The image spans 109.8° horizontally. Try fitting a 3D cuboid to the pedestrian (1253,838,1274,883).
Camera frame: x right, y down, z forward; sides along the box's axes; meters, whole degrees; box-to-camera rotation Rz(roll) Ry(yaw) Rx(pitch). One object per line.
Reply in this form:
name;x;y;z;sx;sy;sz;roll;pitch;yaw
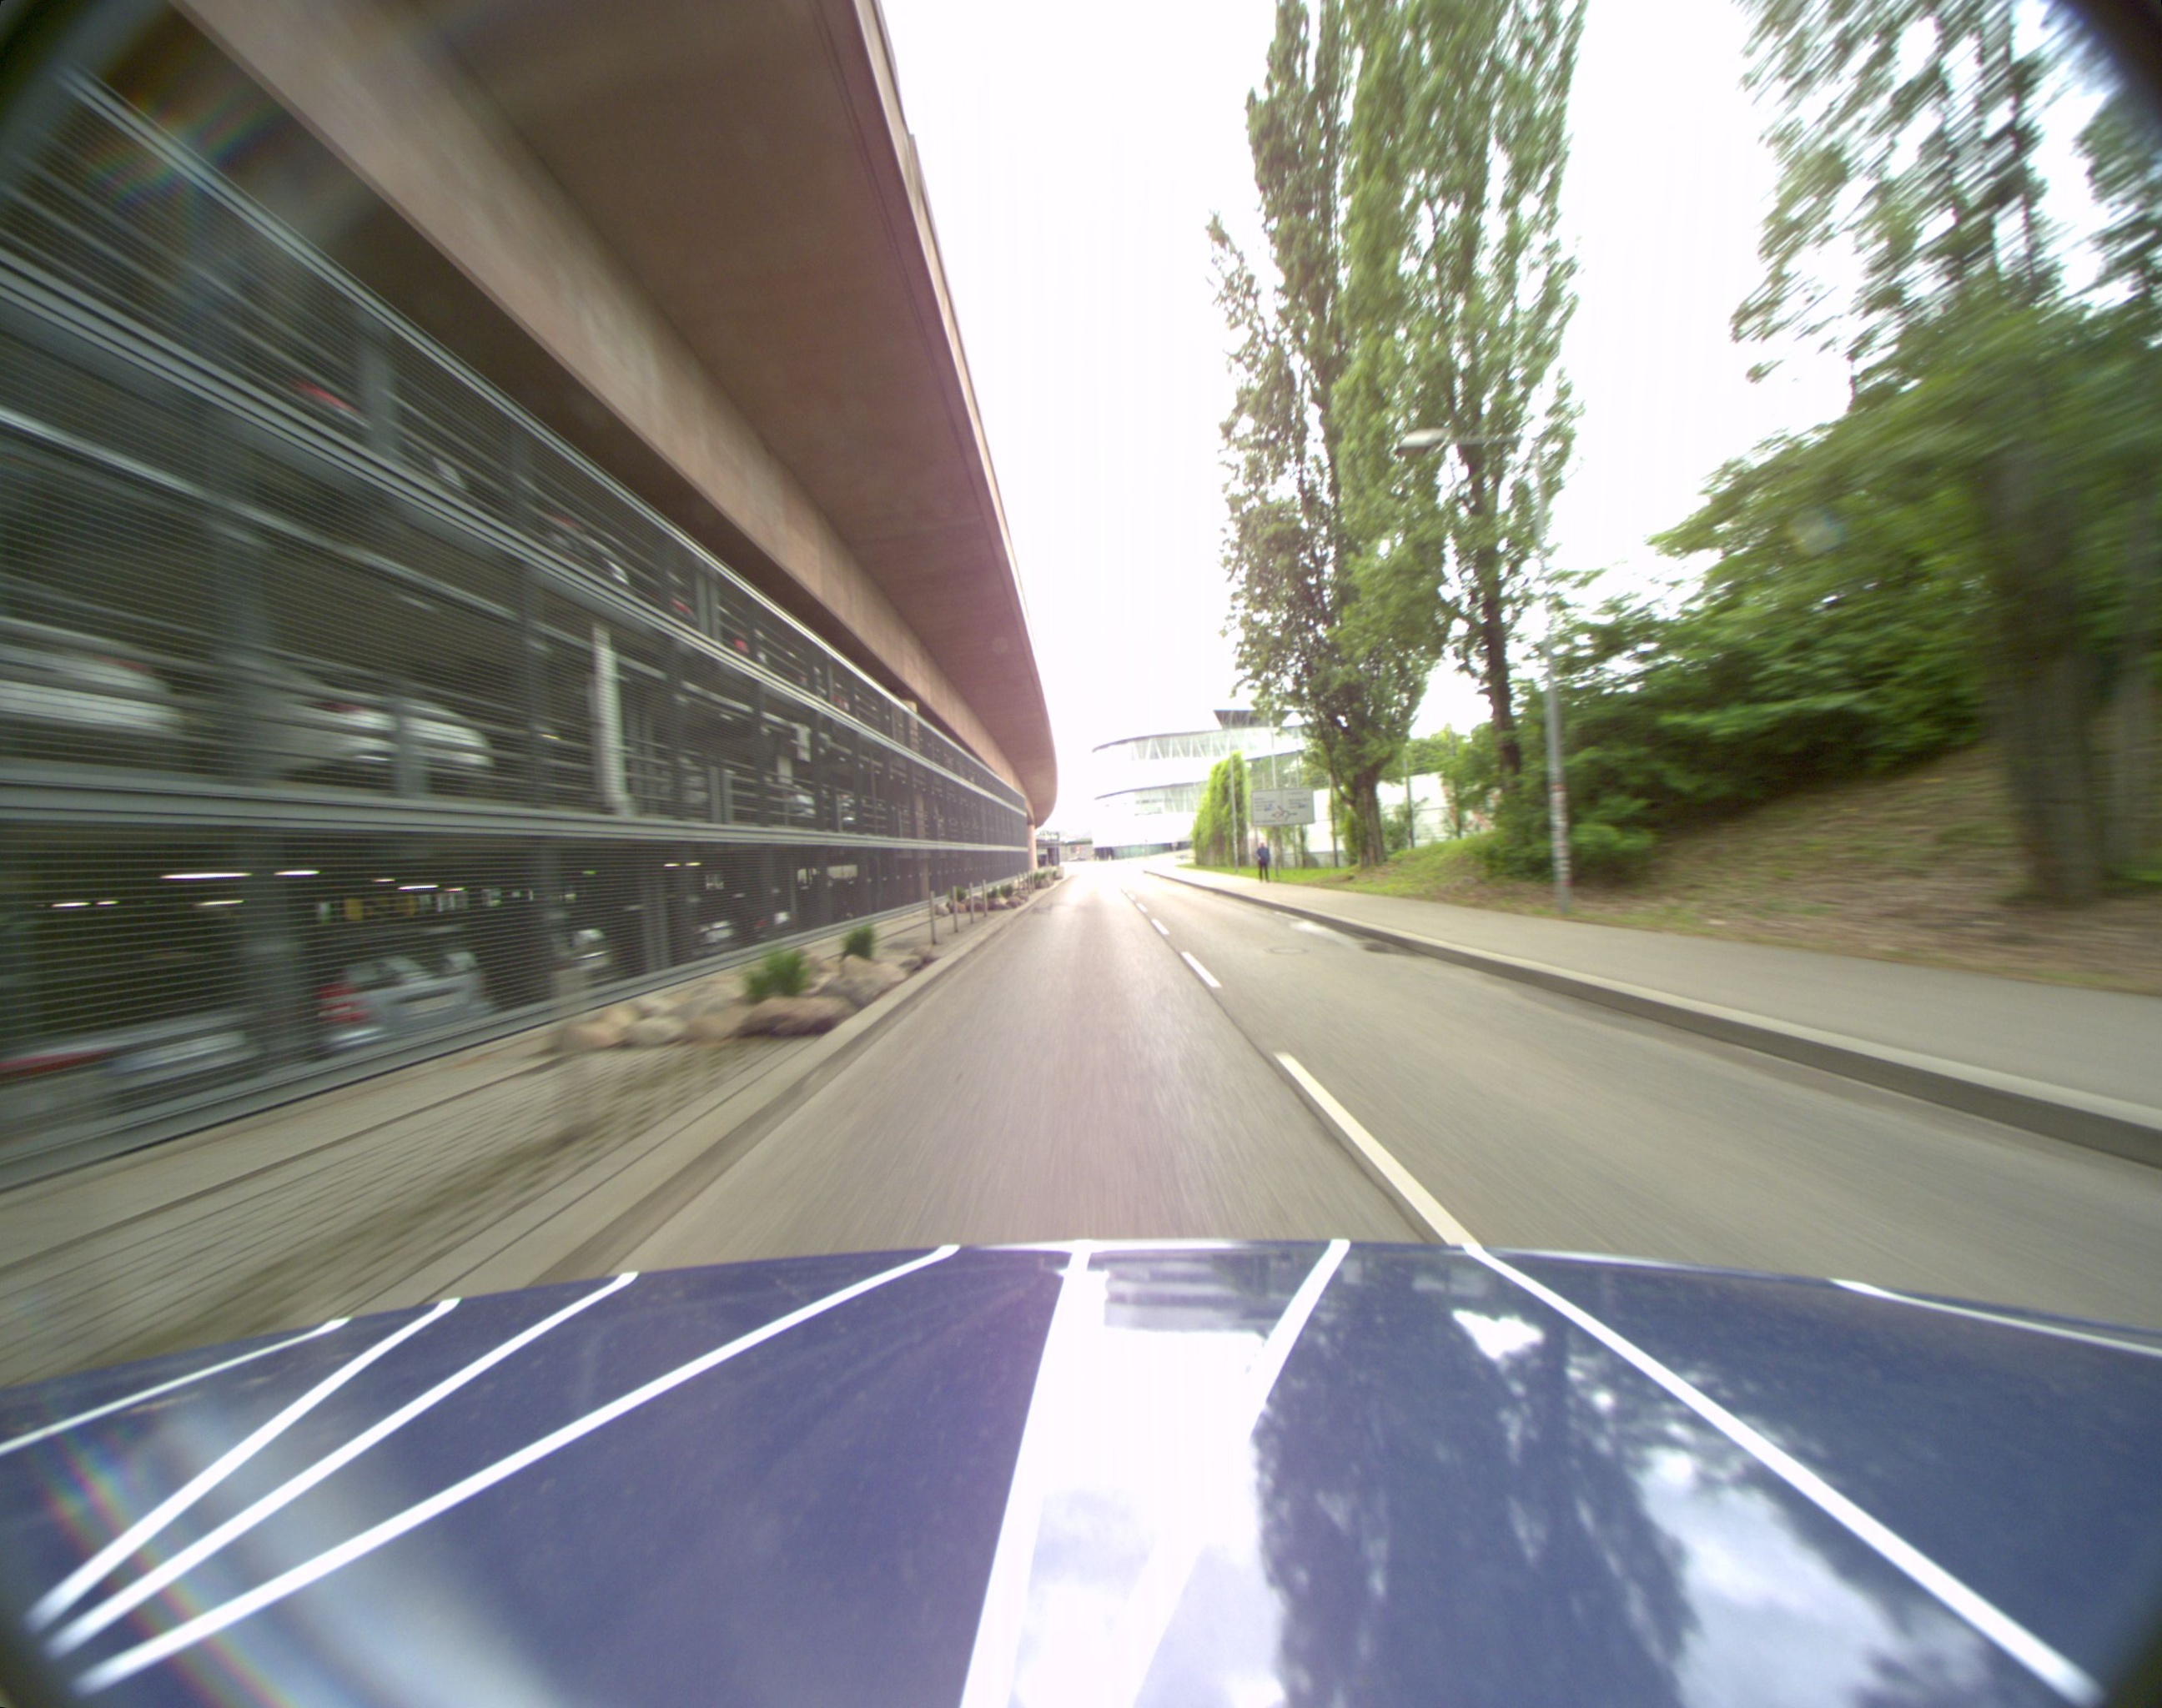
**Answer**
pedestrian;7.879;0.280;32.794;0.662;1.883;0.736;-2;1;1
